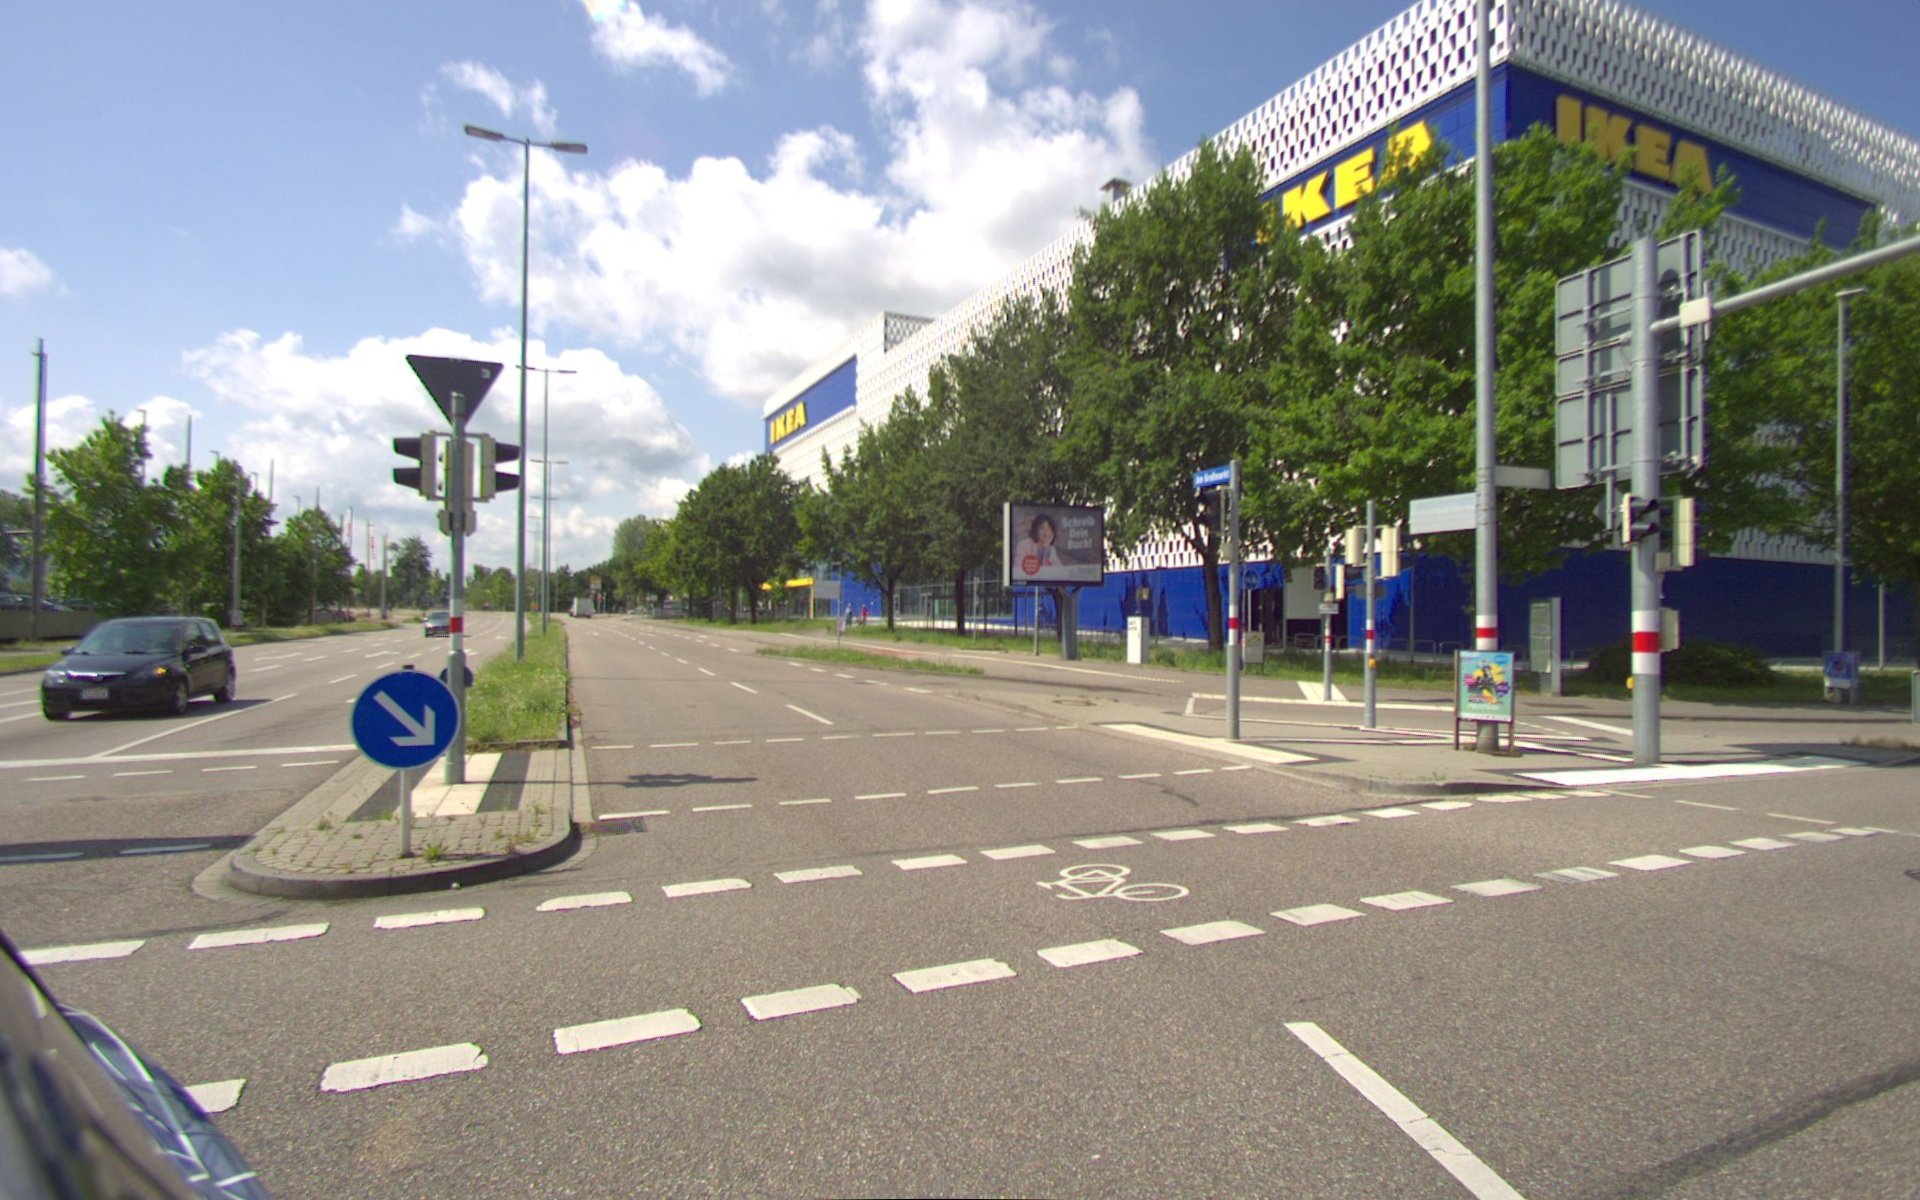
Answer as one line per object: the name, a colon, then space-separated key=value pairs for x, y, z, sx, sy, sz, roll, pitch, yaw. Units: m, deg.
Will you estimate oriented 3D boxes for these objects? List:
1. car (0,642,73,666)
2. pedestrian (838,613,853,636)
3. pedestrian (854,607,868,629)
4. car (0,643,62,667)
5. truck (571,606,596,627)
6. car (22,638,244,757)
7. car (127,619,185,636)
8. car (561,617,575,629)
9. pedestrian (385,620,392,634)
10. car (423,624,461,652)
car: x=-79.463 y=4.626 z=87.153 sx=4.346 sy=1.777 sz=1.565 roll=-1 pitch=0 yaw=-25
pedestrian: x=-8.967 y=1.888 z=79.206 sx=0.840 sy=1.741 sz=1.168 roll=-1 pitch=0 yaw=-19
pedestrian: x=-7.796 y=1.416 z=79.572 sx=0.840 sy=1.741 sz=1.168 roll=-1 pitch=0 yaw=-19
car: x=-77.420 y=4.536 z=83.776 sx=4.346 sy=1.777 sz=1.565 roll=-1 pitch=0 yaw=-25
truck: x=-52.738 y=2.248 z=141.792 sx=2.923 sy=2.773 sz=5.803 roll=-1 pitch=0 yaw=-24
car: x=-13.074 y=1.438 z=16.306 sx=1.580 sy=1.541 sz=4.283 roll=0 pitch=-1 yaw=-22
car: x=-82.300 y=2.821 z=103.656 sx=4.346 sy=1.617 sz=1.961 roll=0 pitch=-1 yaw=-23
car: x=-57.637 y=3.378 z=148.872 sx=1.909 sy=1.696 sz=4.013 roll=-1 pitch=0 yaw=-21
pedestrian: x=-77.729 y=3.658 z=137.601 sx=0.670 sy=1.827 sz=0.525 roll=-1 pitch=0 yaw=12
car: x=-29.781 y=2.197 z=58.254 sx=1.580 sy=1.542 sz=4.283 roll=0 pitch=-2 yaw=-22
